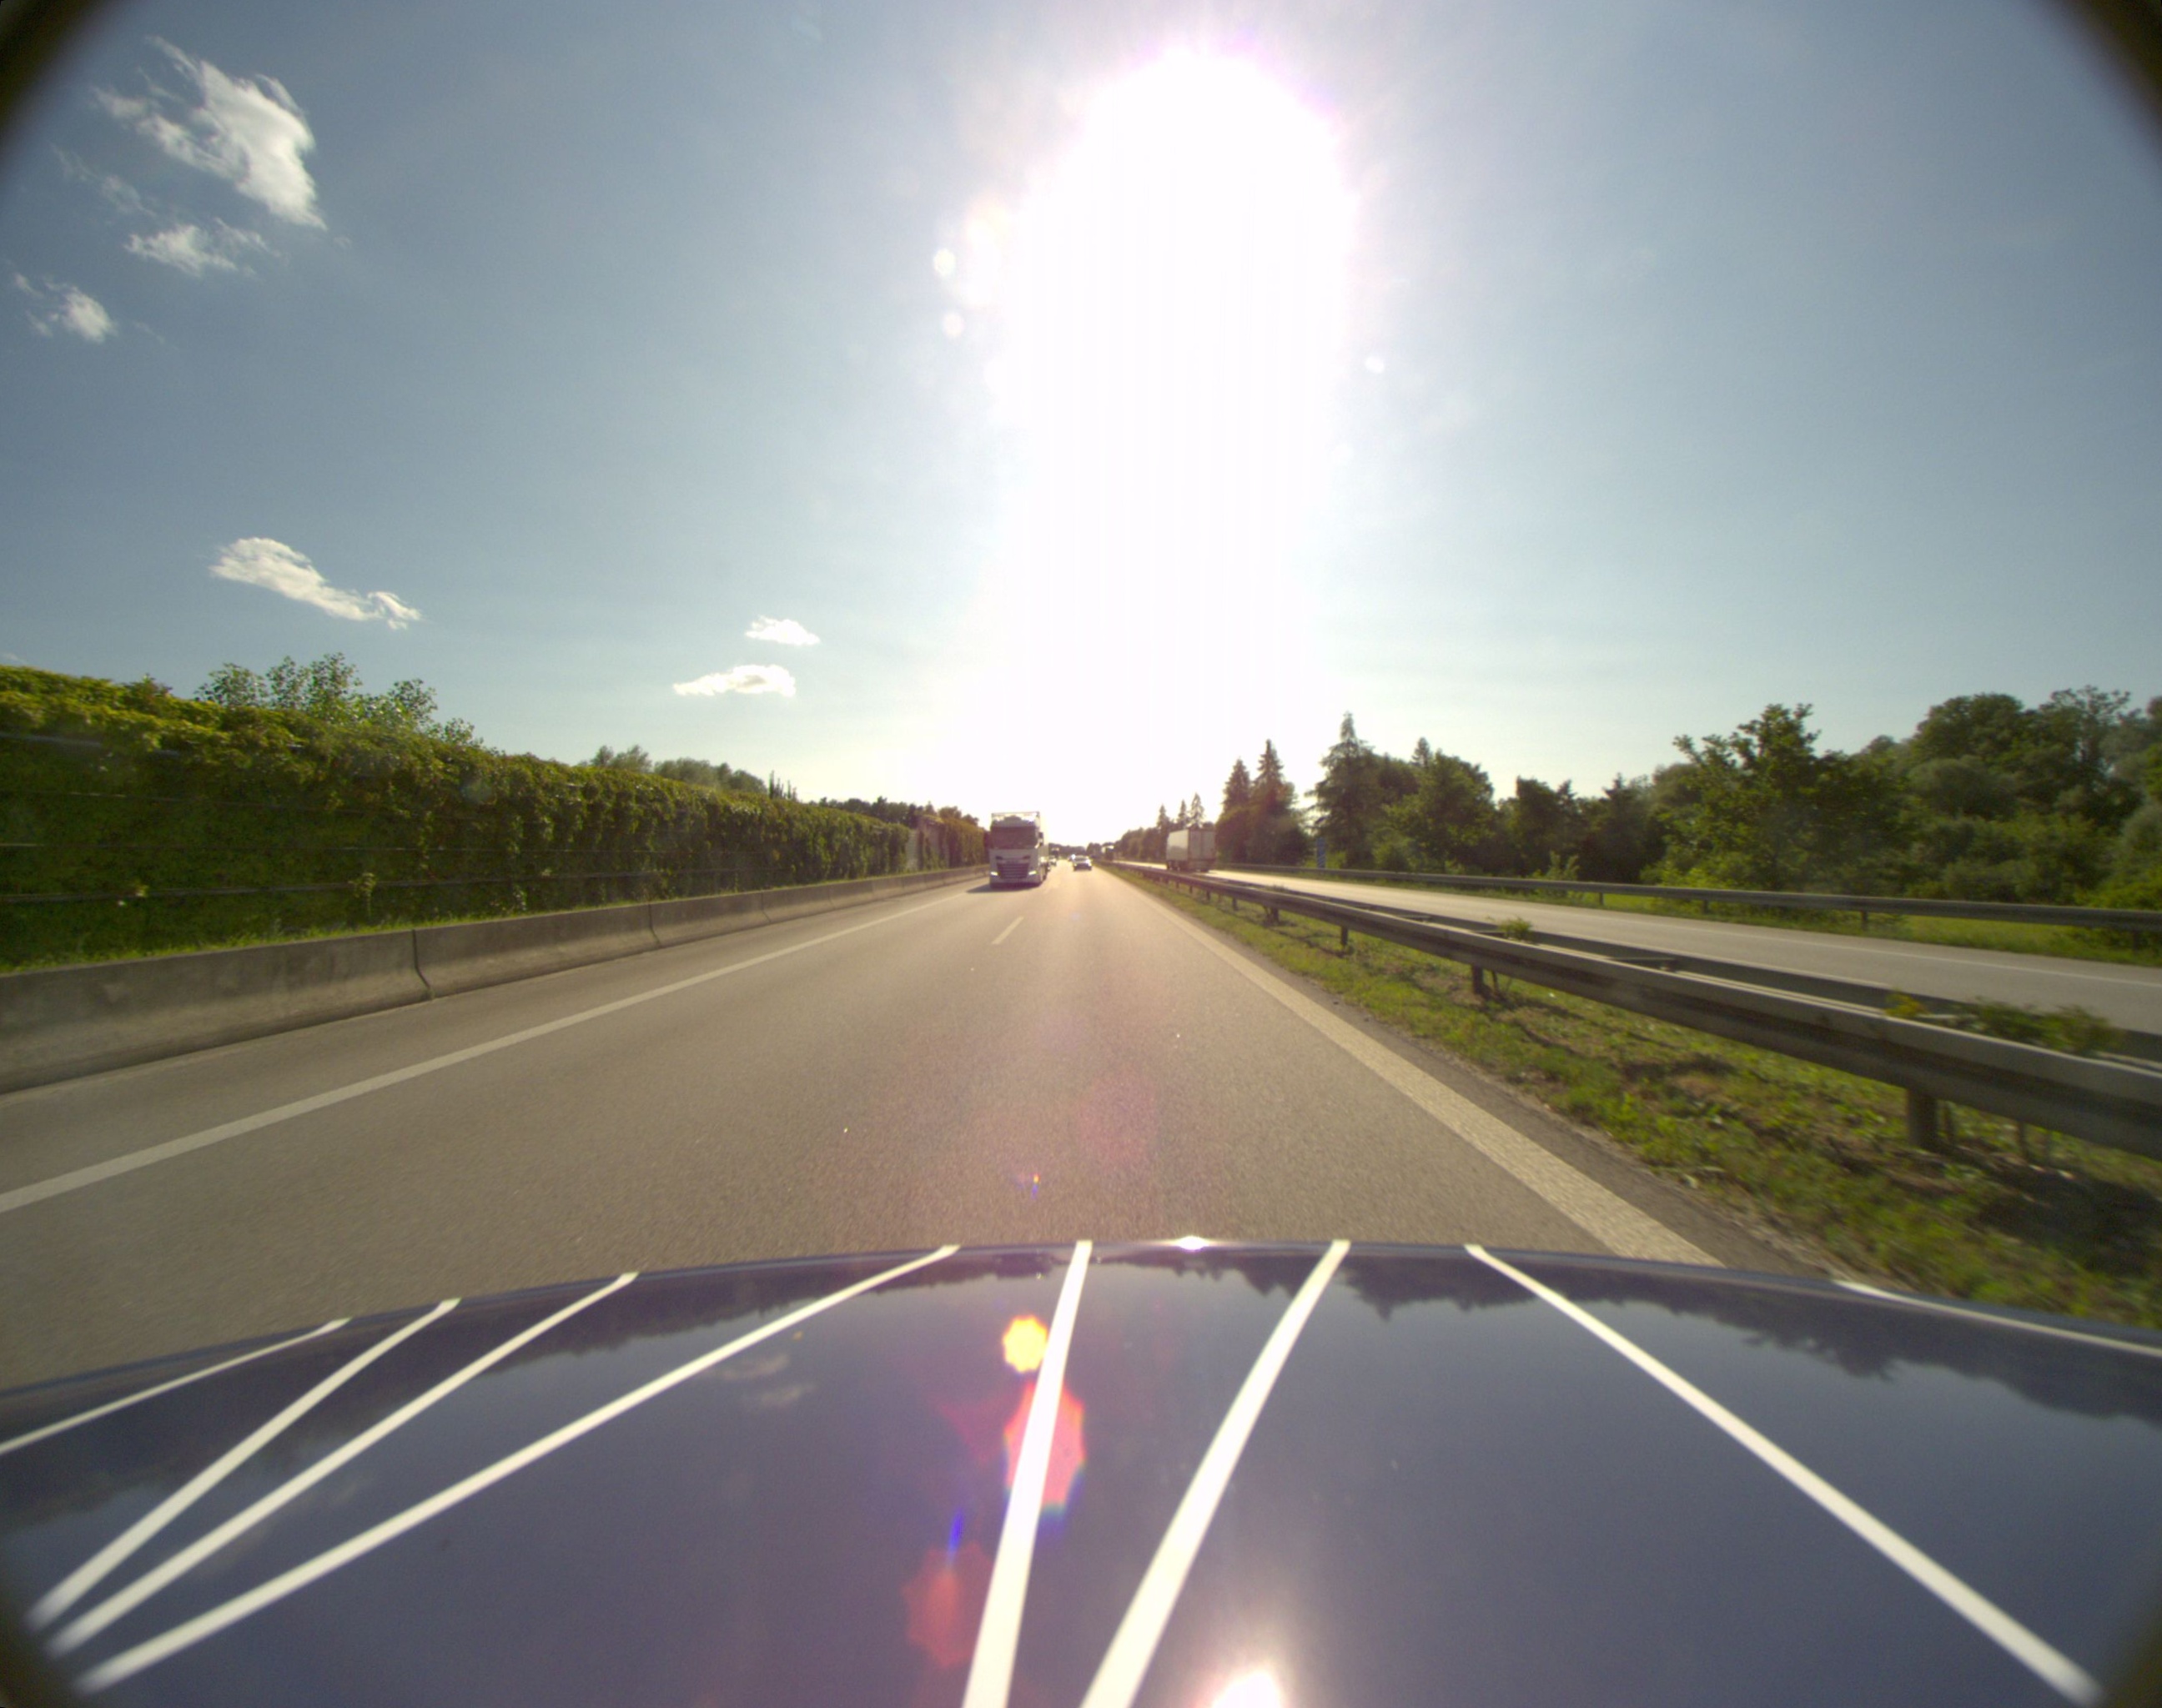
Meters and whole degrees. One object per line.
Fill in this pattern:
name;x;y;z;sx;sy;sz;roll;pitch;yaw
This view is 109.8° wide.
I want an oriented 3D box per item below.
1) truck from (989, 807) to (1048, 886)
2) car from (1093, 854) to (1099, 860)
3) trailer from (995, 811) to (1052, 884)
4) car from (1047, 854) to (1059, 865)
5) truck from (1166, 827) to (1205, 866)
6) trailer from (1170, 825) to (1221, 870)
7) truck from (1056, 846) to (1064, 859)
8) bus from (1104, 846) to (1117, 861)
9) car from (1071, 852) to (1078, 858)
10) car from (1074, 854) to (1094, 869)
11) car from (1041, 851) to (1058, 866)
truck;-3.268;-0.373;41.334;2.848;3.943;7.042;0;0;-2
car;4.556;0.806;229.119;1.759;1.838;5.010;1;0;-1
trailer;-3.374;-0.364;48.252;2.826;3.943;14.157;0;0;-1
car;-4.091;0.818;111.526;1.689;1.487;4.986;5;-1;-2
truck;11.364;-0.796;83.584;3.164;4.077;7.734;1;0;0
trailer;11.320;-0.633;76.604;3.159;4.100;13.440;1;0;0
truck;-7.120;-0.354;255.288;2.537;4.227;11.264;0;0;-1
bus;8.466;-0.173;220.579;2.944;4.030;14.666;0;0;-1
car;-1.621;0.256;183.662;1.742;1.514;3.999;-1;1;-2
car;0.317;0.734;76.918;1.871;1.514;4.283;1;0;-2
car;-3.191;0.477;78.635;1.670;1.446;4.543;-1;0;-2
